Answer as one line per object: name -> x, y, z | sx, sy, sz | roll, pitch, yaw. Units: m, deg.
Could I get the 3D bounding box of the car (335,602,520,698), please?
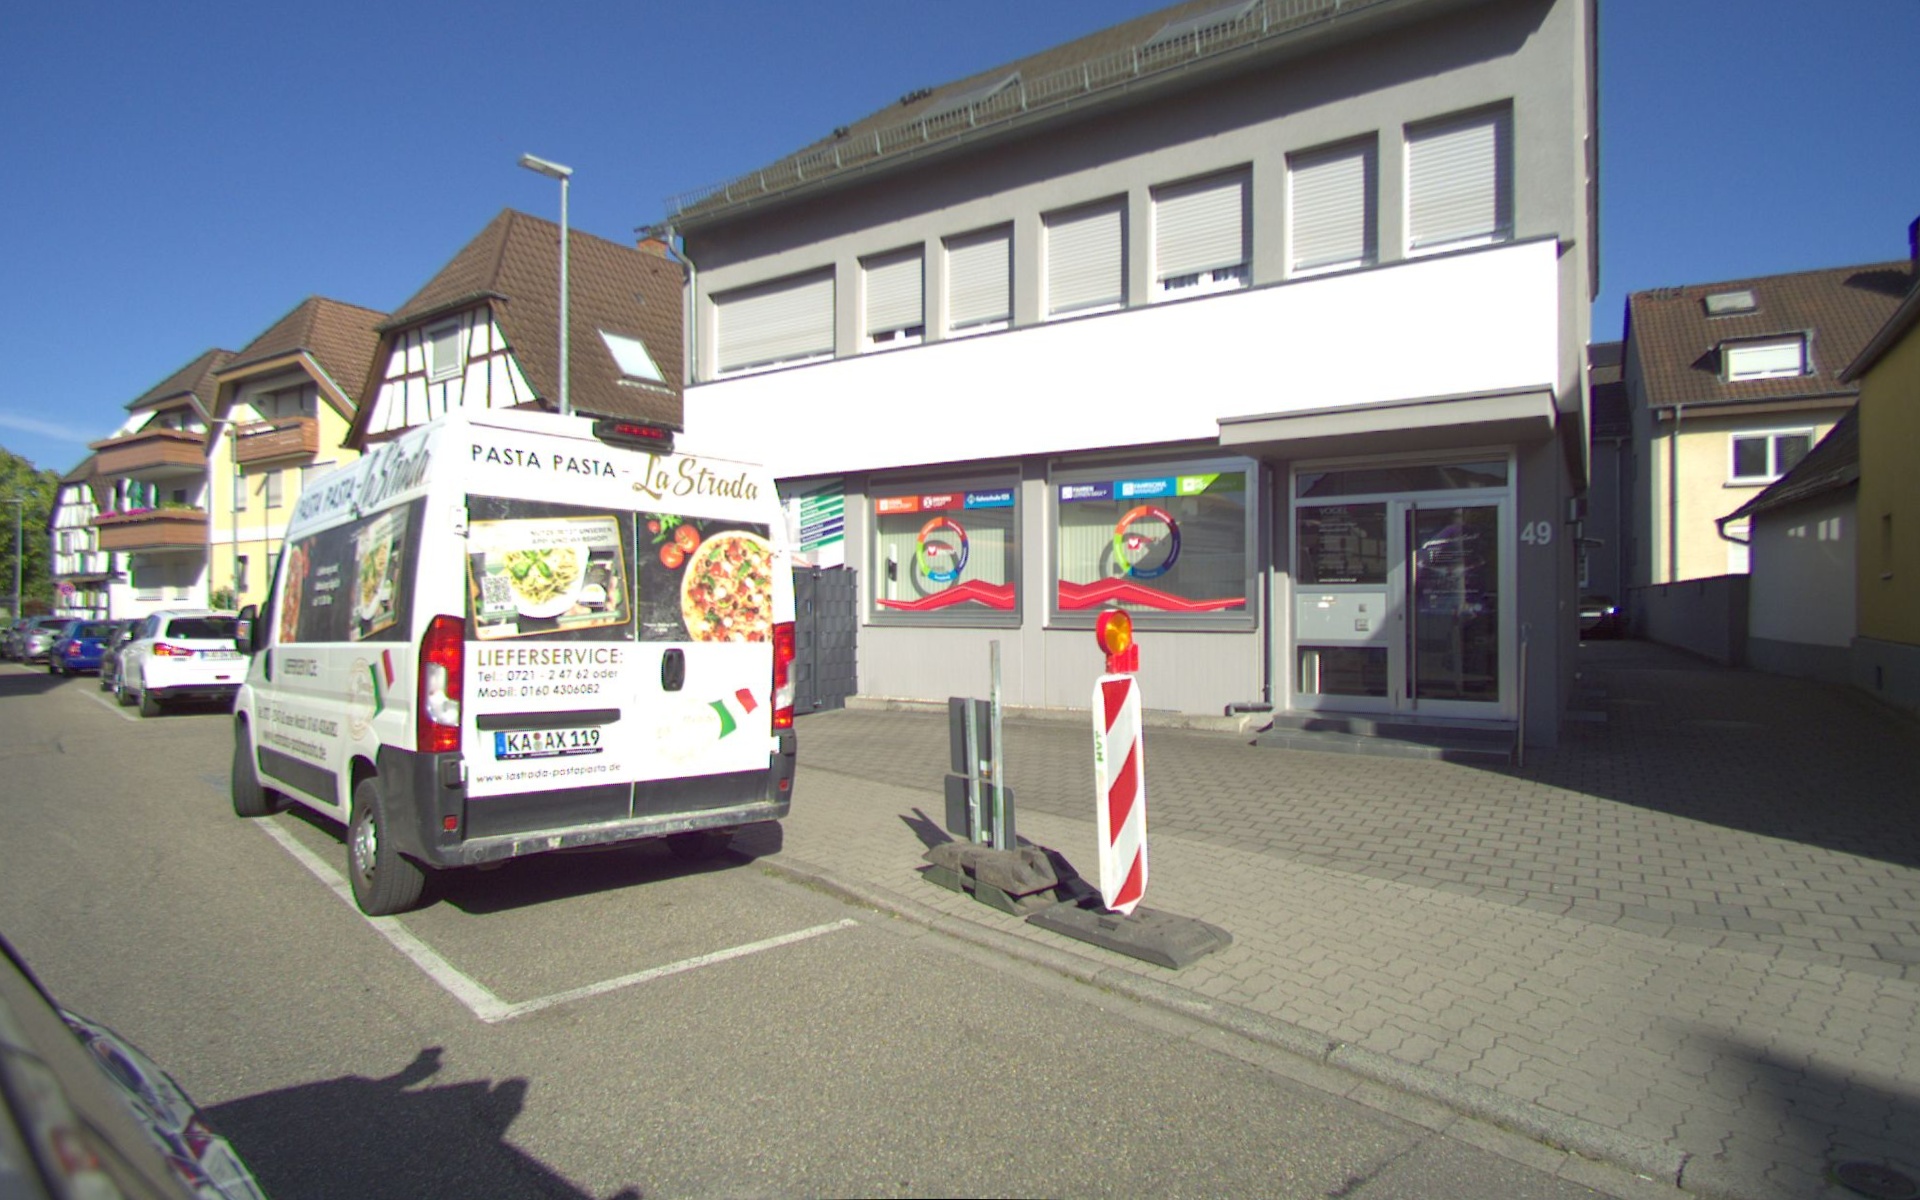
car -> -10.047, 0.874, 18.974 | 4.108, 1.599, 1.626 | -1, -1, 40

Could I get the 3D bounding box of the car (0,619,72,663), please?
car -> -32.841, 1.425, 35.850 | 3.613, 1.488, 1.607 | -1, -2, 41

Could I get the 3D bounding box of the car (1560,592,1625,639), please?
car -> 20.262, 0.507, 32.494 | 1.666, 1.404, 3.405 | -1, -1, 31

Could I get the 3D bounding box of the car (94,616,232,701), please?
car -> -15.809, 1.089, 20.018 | 3.685, 1.519, 1.637 | -1, -2, 44

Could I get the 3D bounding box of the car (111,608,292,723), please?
car -> -12.338, 0.969, 16.365 | 4.113, 1.631, 1.703 | -1, -2, 44

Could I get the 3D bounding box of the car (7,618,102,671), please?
car -> -28.770, 1.364, 32.119 | 3.997, 1.568, 1.740 | -1, -2, 41

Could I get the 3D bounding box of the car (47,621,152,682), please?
car -> -22.279, 1.279, 26.161 | 3.956, 1.450, 1.601 | -1, -2, 43

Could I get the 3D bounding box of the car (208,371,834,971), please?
car -> -3.404, 0.344, 6.986 | 2.226, 2.489, 5.521 | 1, -2, -43
